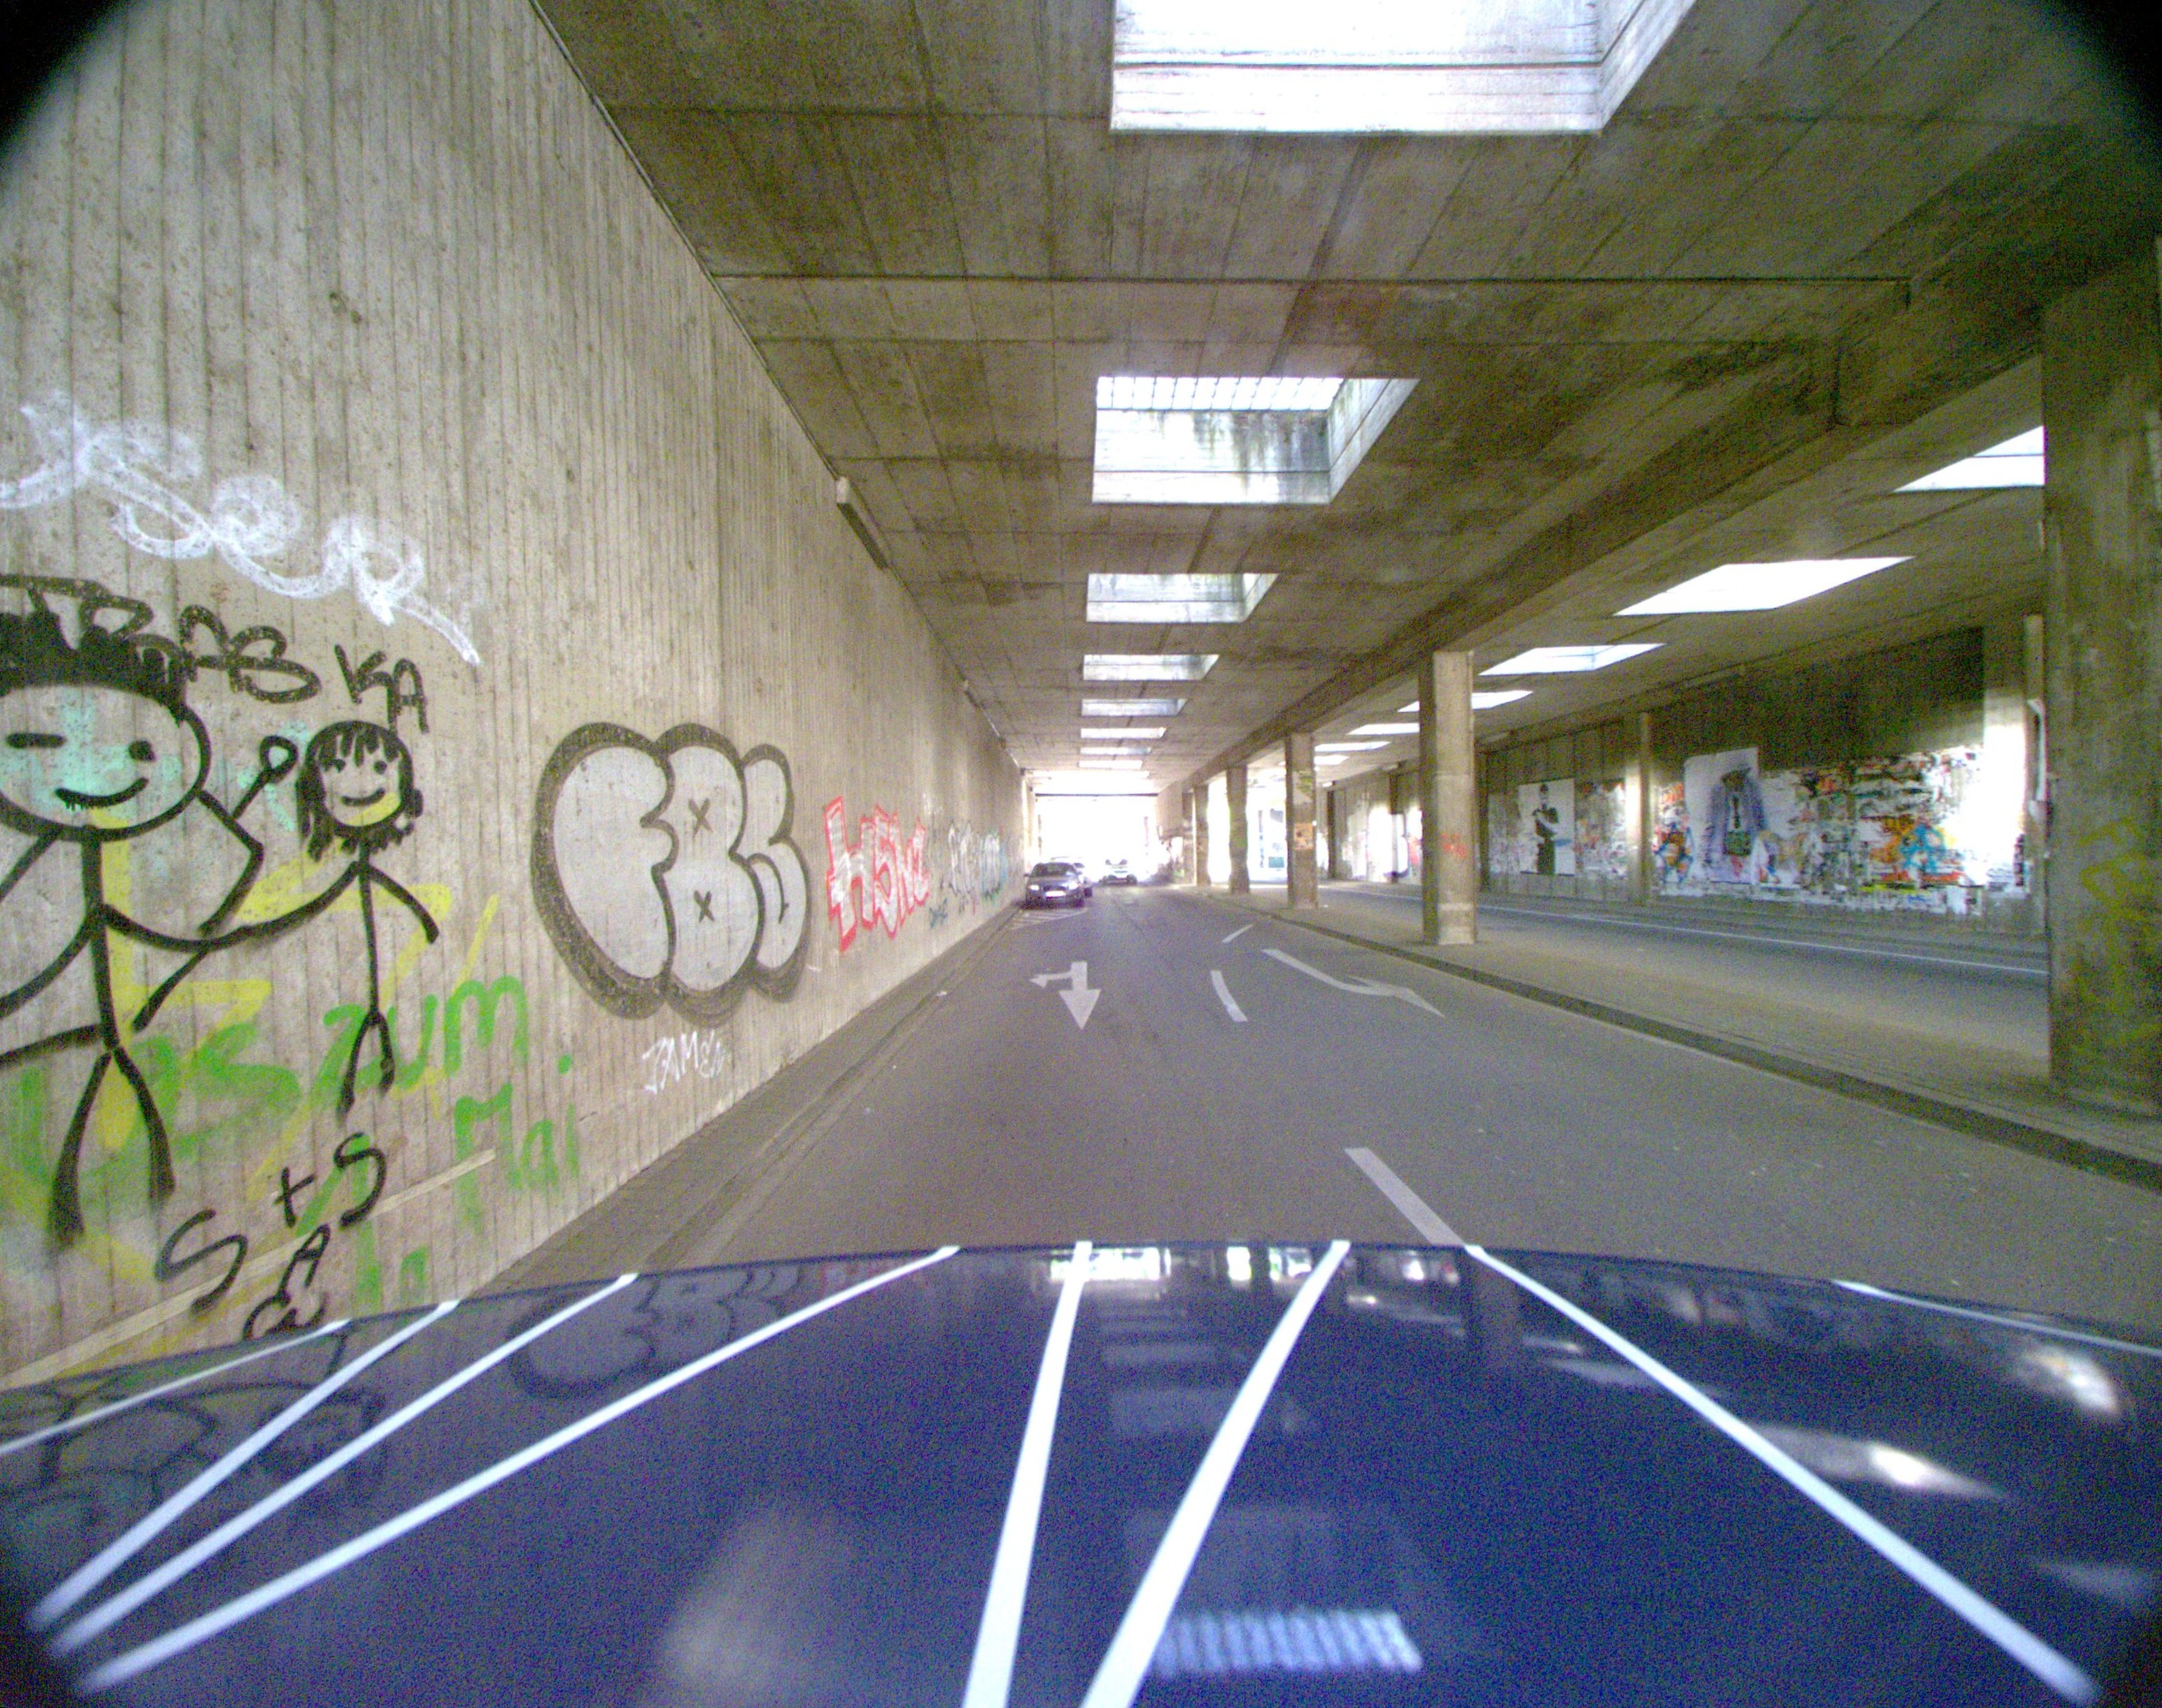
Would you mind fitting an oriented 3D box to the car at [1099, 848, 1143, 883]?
[{"bbox_3d":[2.168,0.601,42.361,1.999,1.740,4.858,-2,1,-2],"label":"car"}]

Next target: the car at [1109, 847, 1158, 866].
[{"bbox_3d":[5.440,0.254,79.140,4.857,1.740,1.999,-2,1,-2],"label":"car"}]

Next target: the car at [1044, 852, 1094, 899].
[{"bbox_3d":[-0.503,0.791,29.869,1.767,1.634,3.999,-2,1,-2],"label":"car"}]

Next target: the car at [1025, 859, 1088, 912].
[{"bbox_3d":[-0.681,0.919,23.919,1.767,1.407,3.999,-2,1,1],"label":"car"}]
